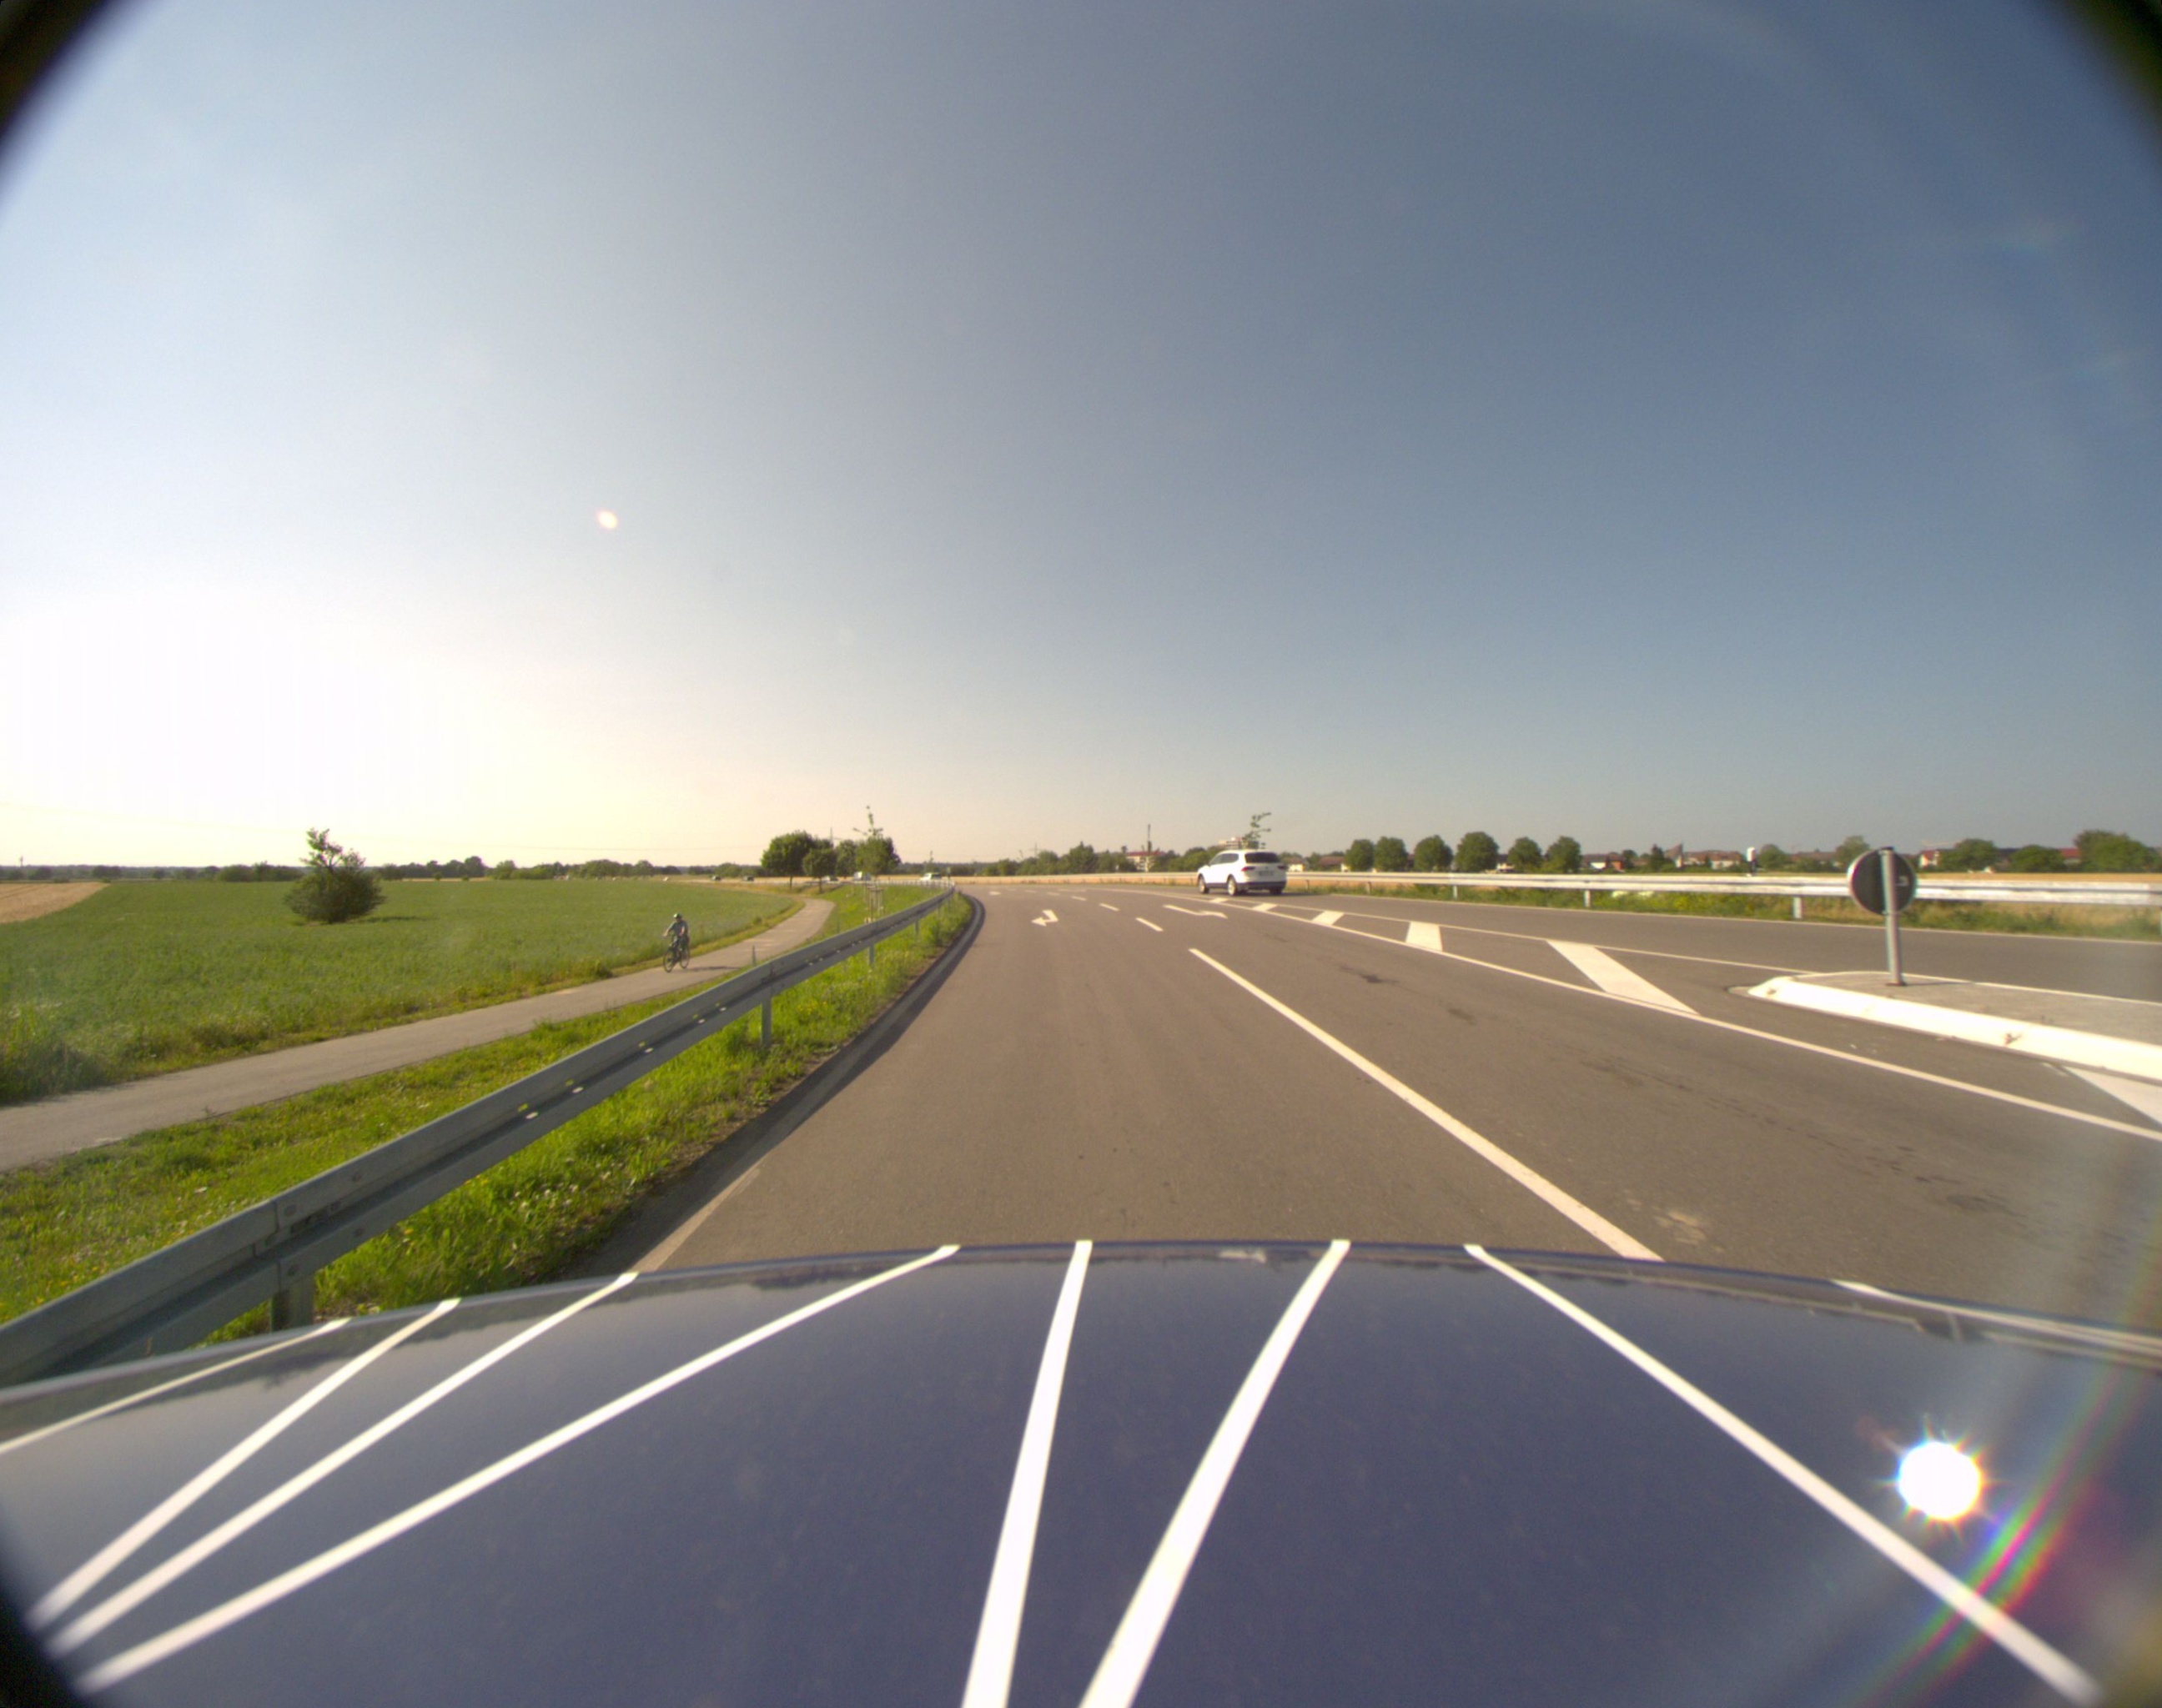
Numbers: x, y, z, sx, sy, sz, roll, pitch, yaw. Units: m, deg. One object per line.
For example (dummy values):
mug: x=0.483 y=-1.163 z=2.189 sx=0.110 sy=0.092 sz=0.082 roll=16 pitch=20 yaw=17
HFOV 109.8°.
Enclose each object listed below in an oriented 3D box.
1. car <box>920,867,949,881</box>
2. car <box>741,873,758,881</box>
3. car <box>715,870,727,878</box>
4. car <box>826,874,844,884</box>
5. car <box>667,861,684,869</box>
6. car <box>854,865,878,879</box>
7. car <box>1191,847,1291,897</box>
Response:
car: x=-18.521 y=2.586 z=95.799 sx=2.125 sy=1.483 sz=5.144 roll=-2 pitch=-3 yaw=-27
car: x=-74.318 y=5.197 z=170.169 sx=2.004 sy=1.583 sz=4.850 roll=-1 pitch=-1 yaw=-41
car: x=-89.664 y=4.873 z=189.078 sx=1.891 sy=1.788 sz=5.078 roll=-3 pitch=2 yaw=-35
car: x=-43.220 y=4.417 z=133.454 sx=1.803 sy=1.439 sz=4.696 roll=-2 pitch=-3 yaw=-33
car: x=-106.126 y=2.850 z=198.712 sx=2.822 sy=2.002 sz=6.086 roll=-3 pitch=1 yaw=-39
car: x=-35.025 y=2.972 z=123.514 sx=2.125 sy=2.001 sz=5.143 roll=-2 pitch=-3 yaw=-36
car: x=5.744 y=0.625 z=27.975 sx=1.698 sy=1.663 sz=4.858 roll=-1 pitch=0 yaw=-13
